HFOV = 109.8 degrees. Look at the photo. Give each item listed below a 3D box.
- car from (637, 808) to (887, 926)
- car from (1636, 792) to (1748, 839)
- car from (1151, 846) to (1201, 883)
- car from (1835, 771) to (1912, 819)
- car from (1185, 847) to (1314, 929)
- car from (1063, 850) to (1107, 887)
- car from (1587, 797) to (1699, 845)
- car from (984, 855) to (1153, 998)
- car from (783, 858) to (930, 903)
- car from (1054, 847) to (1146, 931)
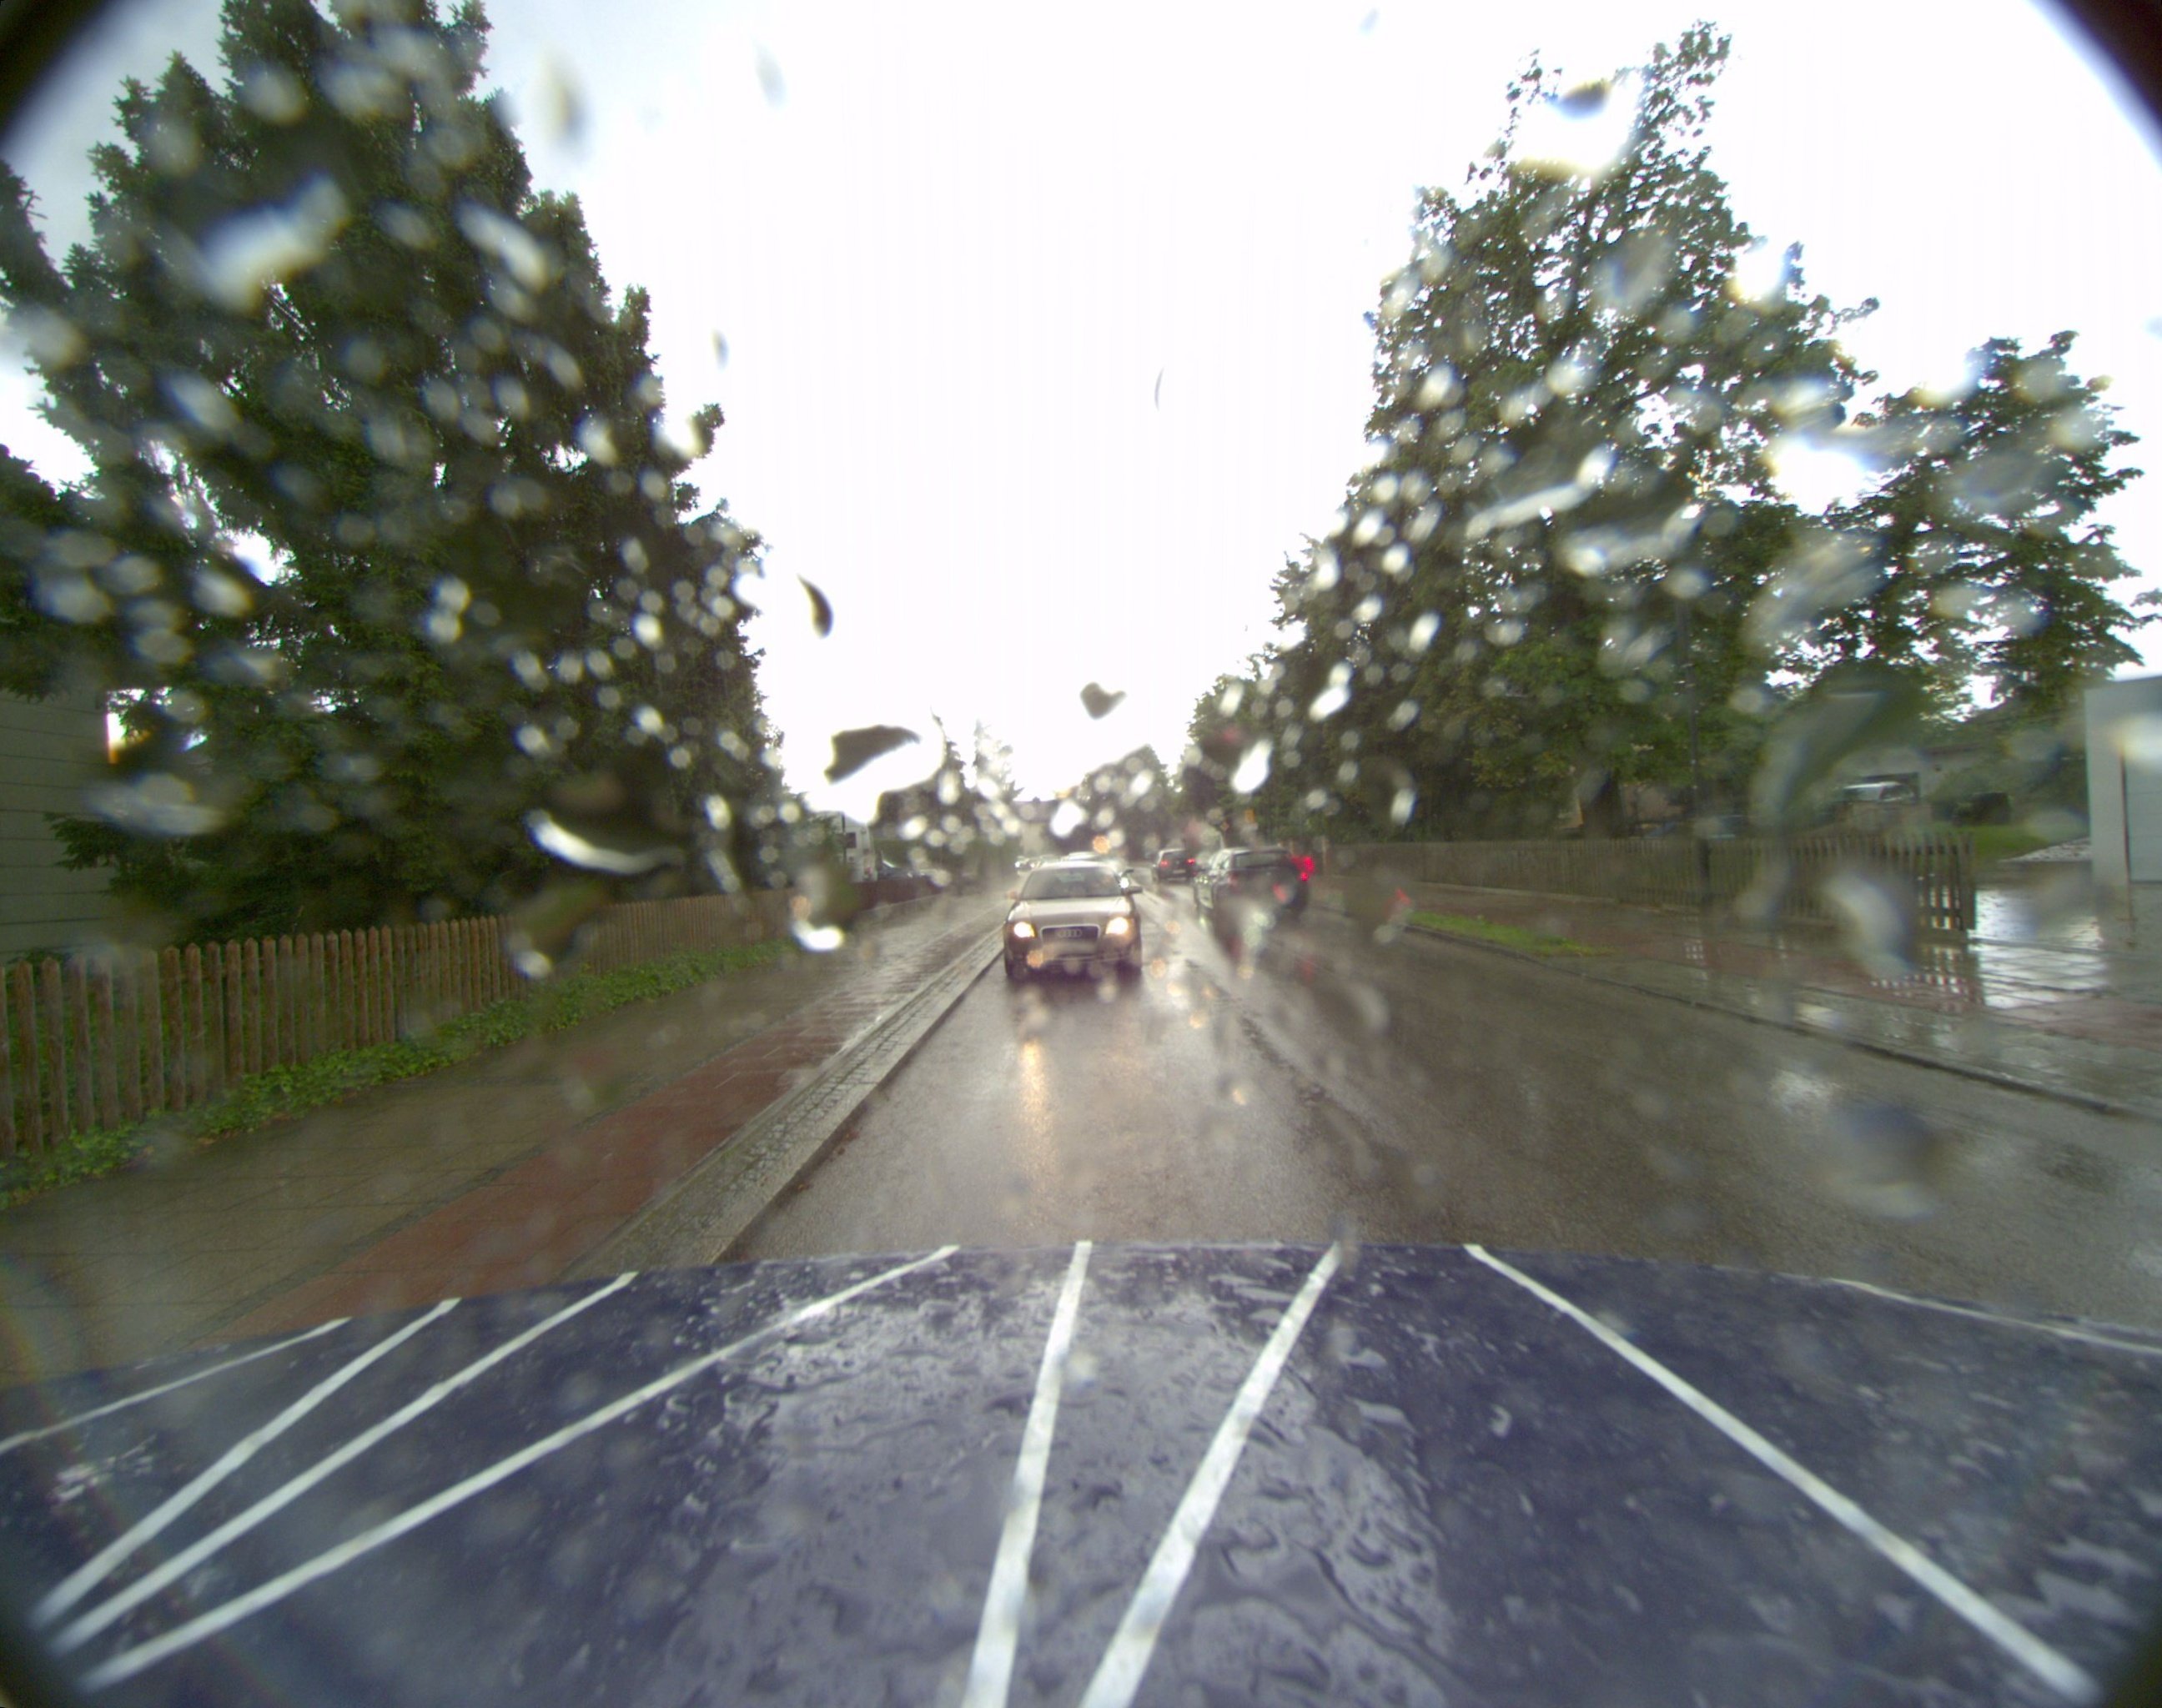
[{"bbox_3d":[-7.641,0.286,18.740,5.321,2.712,1.998,0,1,-9],"label":"car"},{"bbox_3d":[28.862,-1.784,35.987,1.845,1.792,3.649,-6,0,-33],"label":"car"},{"bbox_3d":[4.173,0.420,33.940,1.712,1.457,4.000,-4,1,1],"label":"car"},{"bbox_3d":[40.604,-3.002,38.930,3.857,2.281,1.782,-3,1,-29],"label":"car"},{"bbox_3d":[3.526,0.629,16.735,1.785,1.457,4.374,-4,1,0],"label":"car"},{"bbox_3d":[0.202,0.643,36.933,1.872,1.512,4.960,-4,1,1],"label":"car"},{"bbox_3d":[25.859,-1.494,35.068,1.845,1.792,3.649,-6,0,-33],"label":"car"},{"bbox_3d":[-0.115,0.840,10.835,1.872,1.512,4.188,-3,1,1],"label":"car"},{"bbox_3d":[-7.398,0.866,25.431,4.443,1.413,1.829,0,1,-7],"label":"car"},{"bbox_3d":[0.446,0.747,18.882,1.872,1.603,4.960,-4,1,1],"label":"car"}]
